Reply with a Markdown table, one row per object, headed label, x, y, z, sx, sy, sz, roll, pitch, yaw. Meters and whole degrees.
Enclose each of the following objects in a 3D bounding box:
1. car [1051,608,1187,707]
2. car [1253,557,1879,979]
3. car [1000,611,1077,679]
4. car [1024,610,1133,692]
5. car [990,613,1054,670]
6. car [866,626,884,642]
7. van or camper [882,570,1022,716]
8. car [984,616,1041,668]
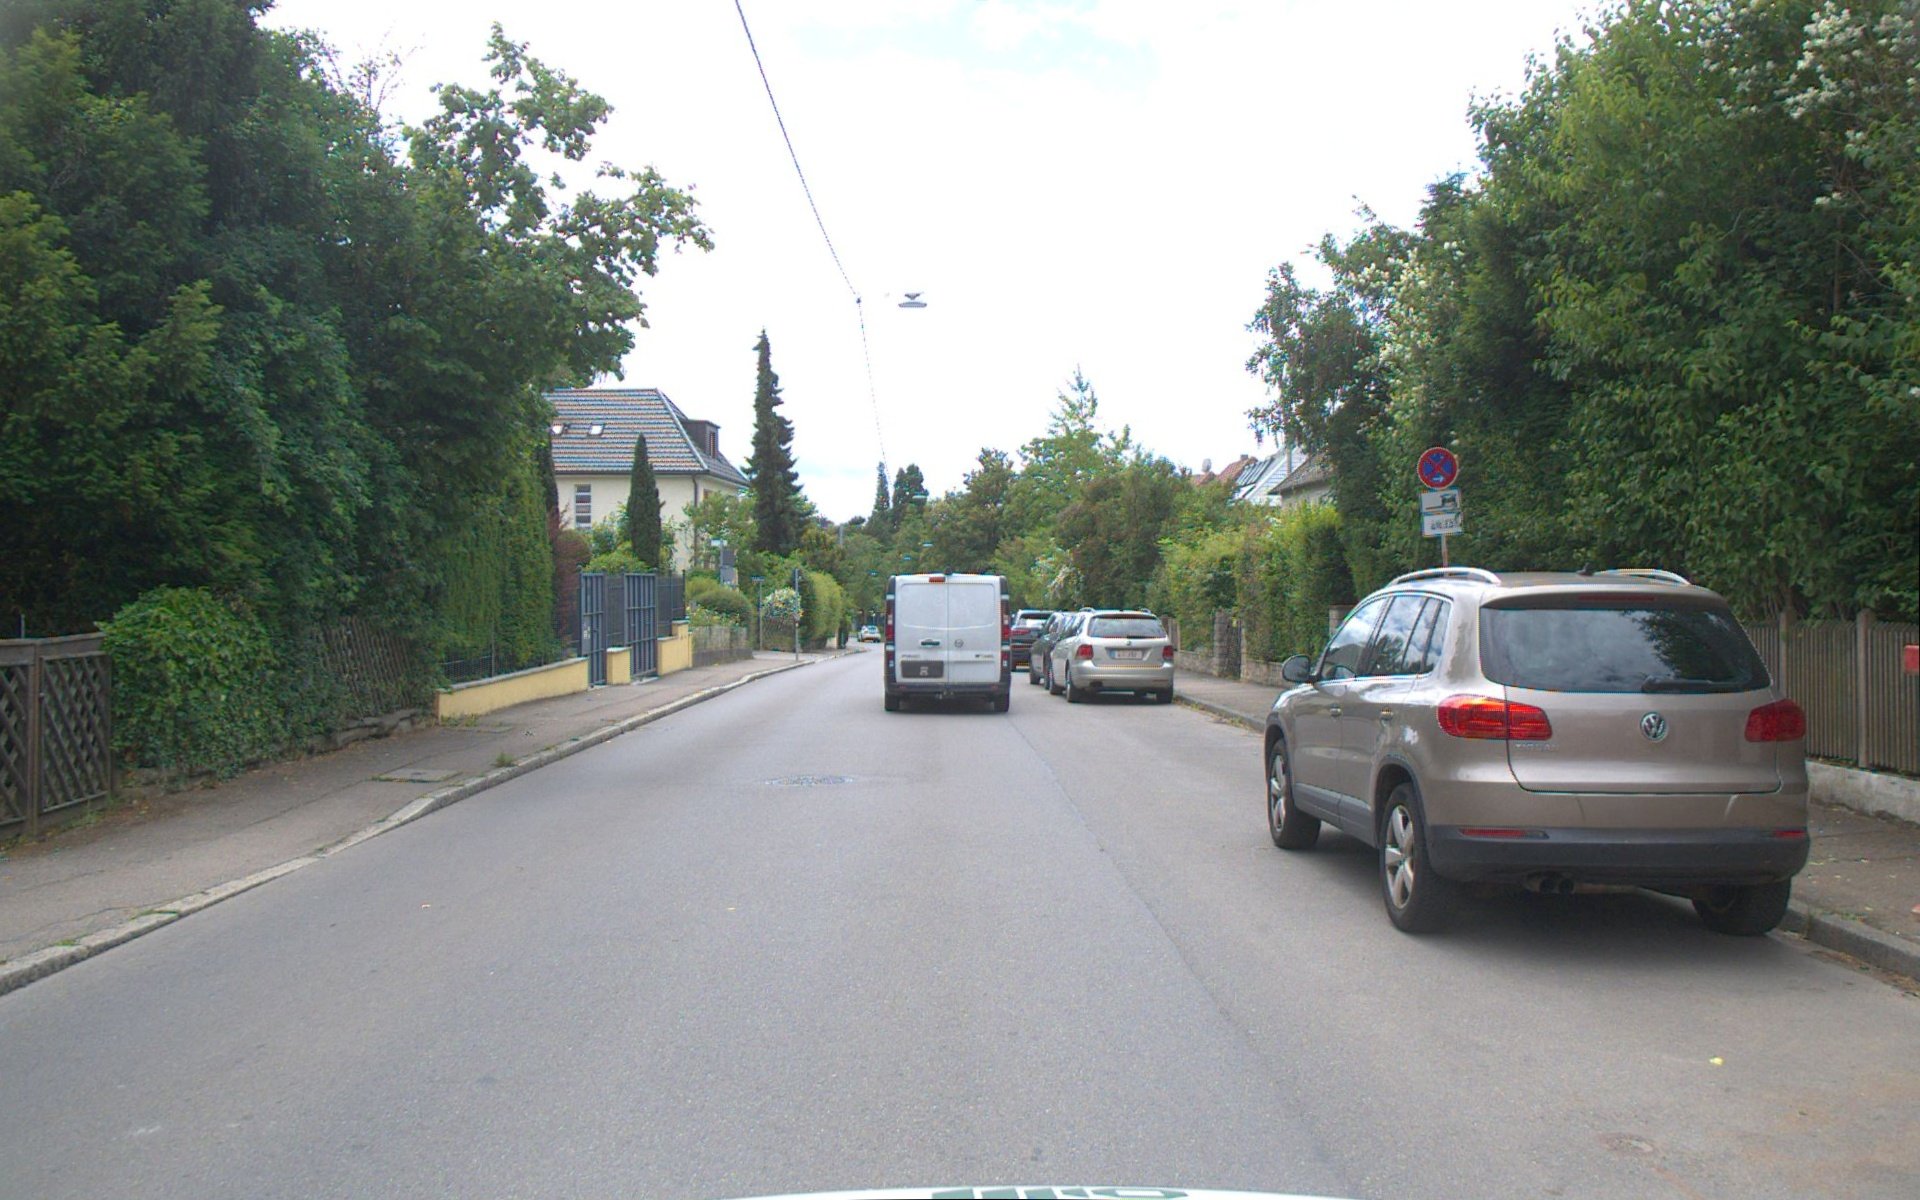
| label | x | y | z | sx | sy | sz | roll | pitch | yaw |
| --- | --- | --- | --- | --- | --- | --- | --- | --- | --- |
| car | 2.561 | 0.889 | 27.545 | 1.709 | 1.472 | 4.257 | -1 | 0 | -2 |
| car | 2.865 | 0.680 | 8.879 | 1.709 | 1.704 | 4.183 | -1 | 0 | -2 |
| car | 2.042 | 1.150 | 44.026 | 1.709 | 1.658 | 4.257 | -1 | 0 | -2 |
| car | 2.287 | 0.963 | 32.895 | 1.709 | 1.472 | 4.257 | -1 | 0 | -2 |
| car | 1.920 | 1.273 | 52.243 | 1.709 | 1.658 | 4.257 | -1 | 0 | -2 |
| car | -8.648 | 3.414 | 167.687 | 1.709 | 1.552 | 4.010 | -1 | 0 | -2 |
| van or camper | -0.183 | 0.619 | 25.259 | 1.900 | 1.988 | 4.763 | 1 | -1 | -2 |
| car | 1.790 | 1.428 | 57.771 | 1.709 | 1.658 | 4.257 | -1 | 0 | -2 |
